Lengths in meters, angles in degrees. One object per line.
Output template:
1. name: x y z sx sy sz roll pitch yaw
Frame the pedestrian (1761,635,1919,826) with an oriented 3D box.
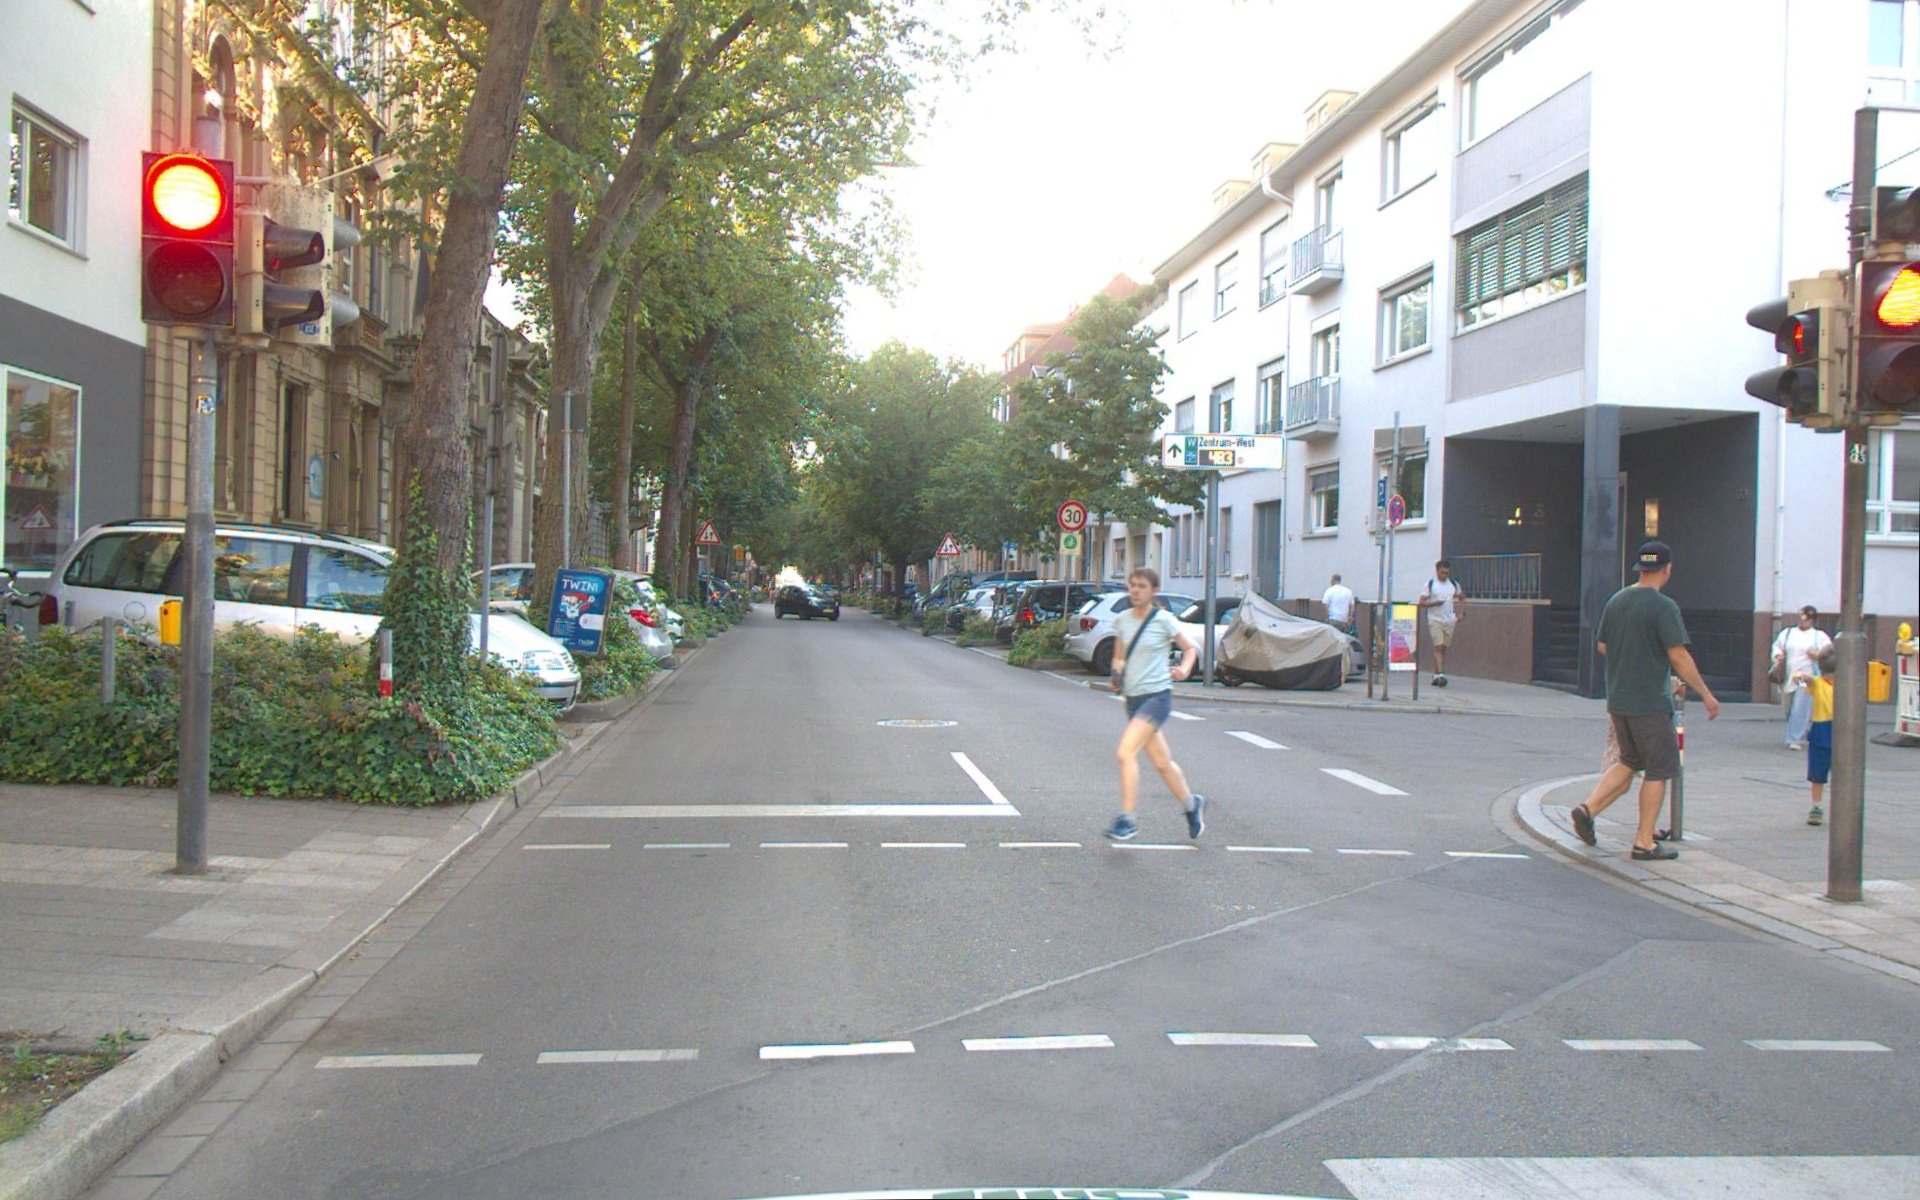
1. pedestrian: 5.728 0.820 10.718 0.556 1.140 0.834 0 1 -16

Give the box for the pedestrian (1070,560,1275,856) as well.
1. pedestrian: 1.225 0.581 9.497 0.689 1.584 0.973 2 1 44

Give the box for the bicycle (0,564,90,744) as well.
1. bicycle: -6.873 0.361 11.206 0.720 1.207 2.631 3 0 -5

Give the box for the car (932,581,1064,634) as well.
1. car: 1.173 0.230 52.014 3.937 1.556 1.705 2 0 -6

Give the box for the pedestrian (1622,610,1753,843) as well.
1. pedestrian: 4.412 0.752 10.058 0.528 1.359 0.506 2 0 -1

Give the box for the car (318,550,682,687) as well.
1. car: -6.095 0.240 22.371 4.460 1.718 1.831 1 0 -6

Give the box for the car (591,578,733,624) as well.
1. car: -9.846 0.029 54.919 4.460 1.434 1.831 1 0 -6

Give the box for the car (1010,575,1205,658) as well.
1. car: 3.147 0.347 35.718 3.937 1.720 1.705 1 0 -6

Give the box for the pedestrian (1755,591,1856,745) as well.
1. pedestrian: 8.776 0.683 17.164 0.761 1.527 0.798 2 1 38

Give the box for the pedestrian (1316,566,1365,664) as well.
1. pedestrian: 7.089 0.275 30.831 0.689 1.782 0.699 2 1 -2

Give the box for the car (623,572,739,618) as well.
1. car: -11.249 -0.209 67.023 4.460 1.721 1.831 1 0 -6

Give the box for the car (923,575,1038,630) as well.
1. car: 0.720 0.086 59.282 3.937 1.862 1.705 2 0 -6

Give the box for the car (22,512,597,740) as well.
1. car: -5.616 0.236 14.837 4.463 1.867 1.829 1 0 -9

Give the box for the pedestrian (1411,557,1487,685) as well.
1. pedestrian: 7.372 0.311 24.953 0.752 1.873 0.942 2 1 -5

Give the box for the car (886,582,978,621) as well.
1. car: -1.263 0.049 74.127 3.937 1.629 1.705 2 0 -6

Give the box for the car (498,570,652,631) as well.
1. car: -10.779 0.009 46.539 3.961 1.618 1.831 1 0 -6

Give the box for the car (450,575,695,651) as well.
1. car: -7.543 0.248 32.551 4.460 1.396 1.831 1 0 -6

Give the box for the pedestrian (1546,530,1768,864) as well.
1. pedestrian: 4.032 0.541 9.621 0.871 1.847 0.793 1 1 -6

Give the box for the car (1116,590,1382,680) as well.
1. car: 4.627 0.543 26.792 3.936 1.366 1.705 1 0 -6

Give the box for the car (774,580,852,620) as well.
1. car: -6.497 0.000 72.875 1.885 1.605 3.950 2 0 -31

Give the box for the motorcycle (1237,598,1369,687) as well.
1. motorcycle: 4.882 0.600 23.628 1.762 1.220 0.613 1 0 3

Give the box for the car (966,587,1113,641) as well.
1. car: 2.233 0.390 46.946 3.937 1.434 1.705 1 0 -6

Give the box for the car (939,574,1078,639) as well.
1. car: 1.415 0.182 49.169 3.937 1.847 1.705 1 0 -6

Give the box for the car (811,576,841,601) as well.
1. car: -9.186 -0.791 113.147 1.790 1.589 4.022 3 0 -7

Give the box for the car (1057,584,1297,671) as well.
1. car: 3.813 0.475 29.357 3.937 1.467 1.705 1 0 -6
